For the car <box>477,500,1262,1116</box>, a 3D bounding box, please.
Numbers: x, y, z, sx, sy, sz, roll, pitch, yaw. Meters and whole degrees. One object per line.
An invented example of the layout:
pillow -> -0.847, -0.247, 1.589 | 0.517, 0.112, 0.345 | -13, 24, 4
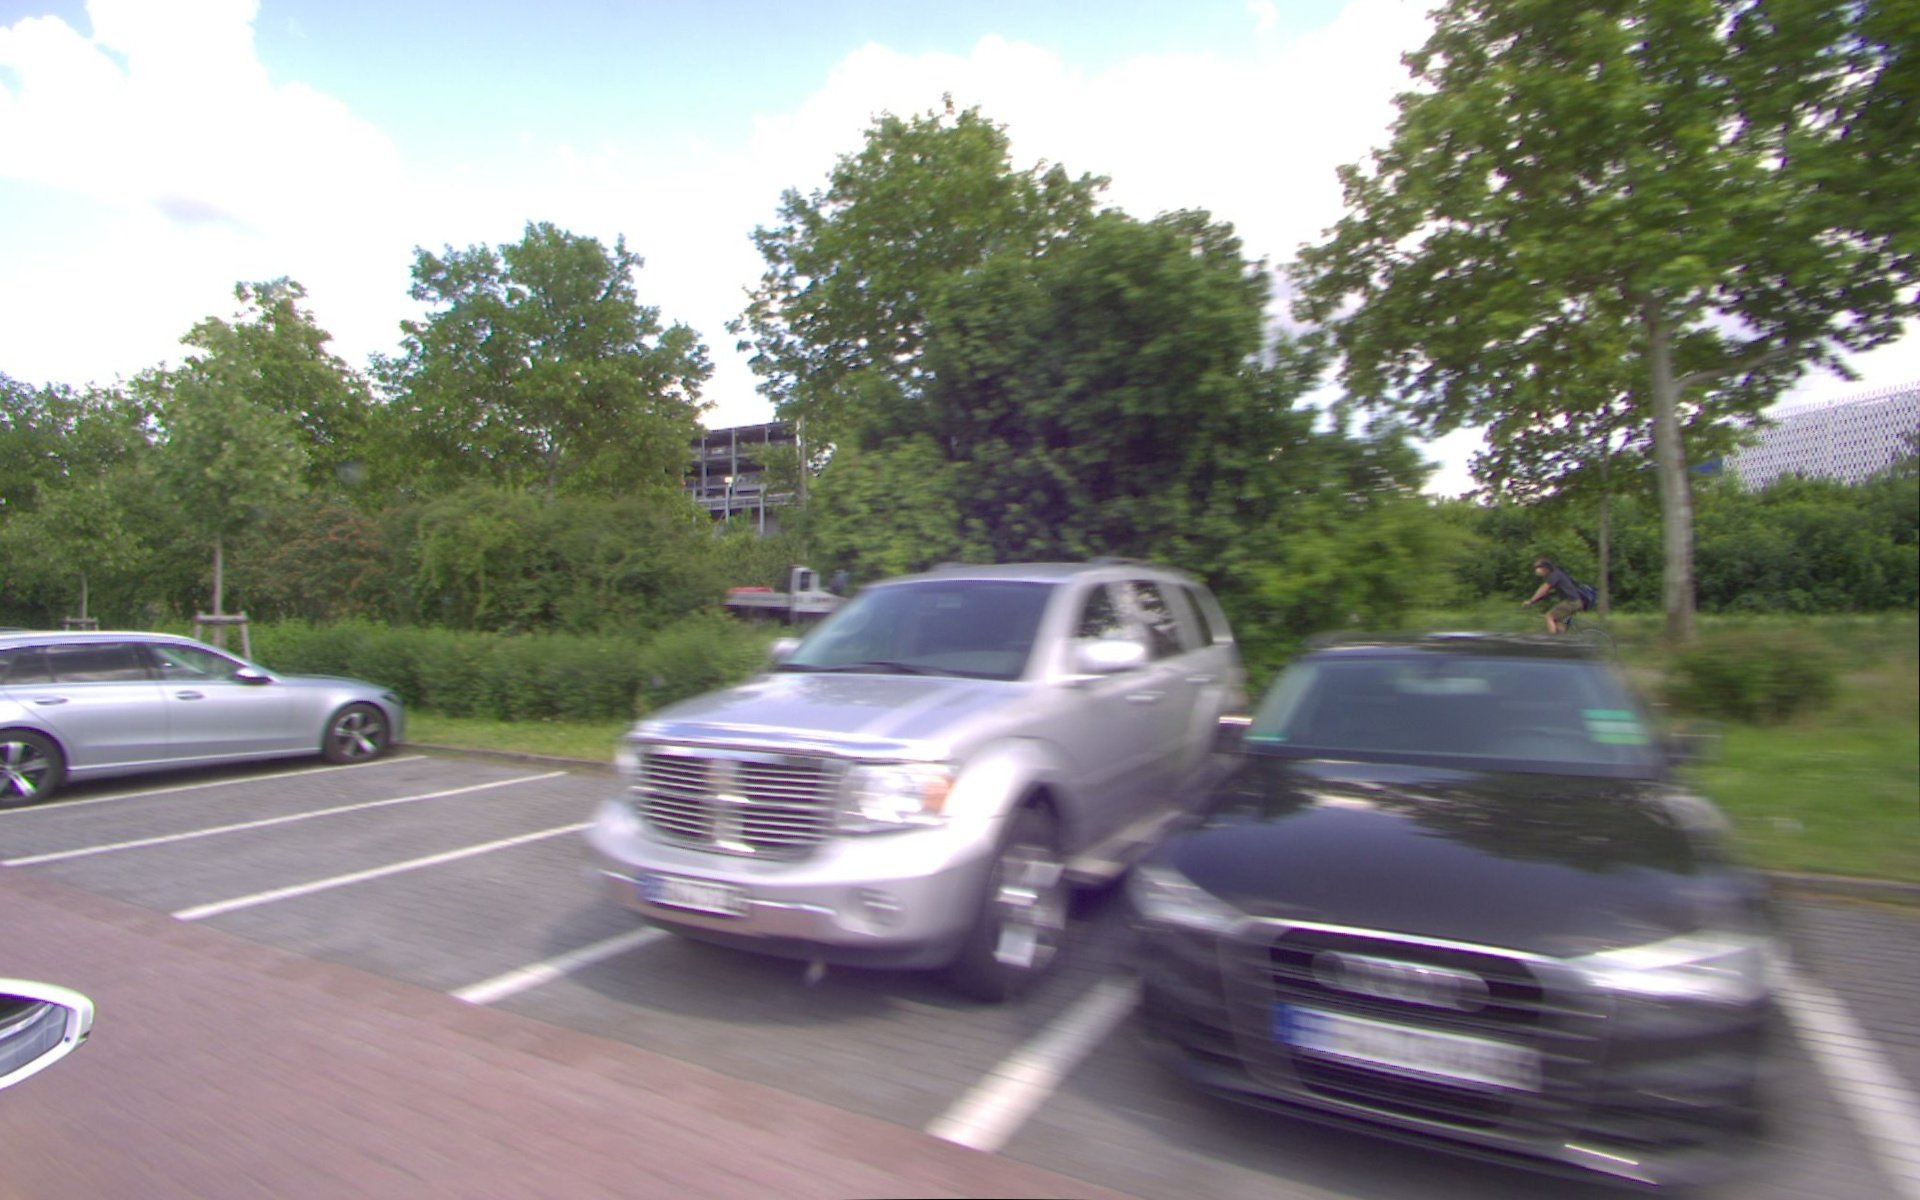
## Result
car -> 0.170, 0.647, 5.760 | 1.960, 1.867, 5.125 | 0, 0, 29

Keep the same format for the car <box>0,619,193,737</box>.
car -> -12.168, 0.968, 12.358 | 1.673, 1.398, 3.985 | -3, -3, 28

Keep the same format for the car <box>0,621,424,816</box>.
car -> -7.964, 1.007, 9.752 | 1.757, 1.524, 4.634 | 0, 0, 29

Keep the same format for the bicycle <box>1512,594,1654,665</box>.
bicycle -> 9.647, 0.471, 15.577 | 1.843, 1.050, 0.525 | -1, -2, 30

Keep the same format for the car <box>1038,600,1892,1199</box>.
car -> 2.129, 0.749, 4.455 | 1.811, 1.470, 4.705 | 0, 0, 28

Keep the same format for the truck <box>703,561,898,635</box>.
truck -> -5.569, -0.035, 34.566 | 6.881, 2.374, 1.992 | 0, 0, 28

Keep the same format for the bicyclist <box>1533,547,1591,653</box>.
bicyclist -> 9.427, 0.020, 15.713 | 0.751, 1.612, 0.633 | -1, -2, 30

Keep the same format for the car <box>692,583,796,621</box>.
car -> -10.086, 0.125, 46.704 | 4.523, 1.691, 1.992 | 0, 0, 28
